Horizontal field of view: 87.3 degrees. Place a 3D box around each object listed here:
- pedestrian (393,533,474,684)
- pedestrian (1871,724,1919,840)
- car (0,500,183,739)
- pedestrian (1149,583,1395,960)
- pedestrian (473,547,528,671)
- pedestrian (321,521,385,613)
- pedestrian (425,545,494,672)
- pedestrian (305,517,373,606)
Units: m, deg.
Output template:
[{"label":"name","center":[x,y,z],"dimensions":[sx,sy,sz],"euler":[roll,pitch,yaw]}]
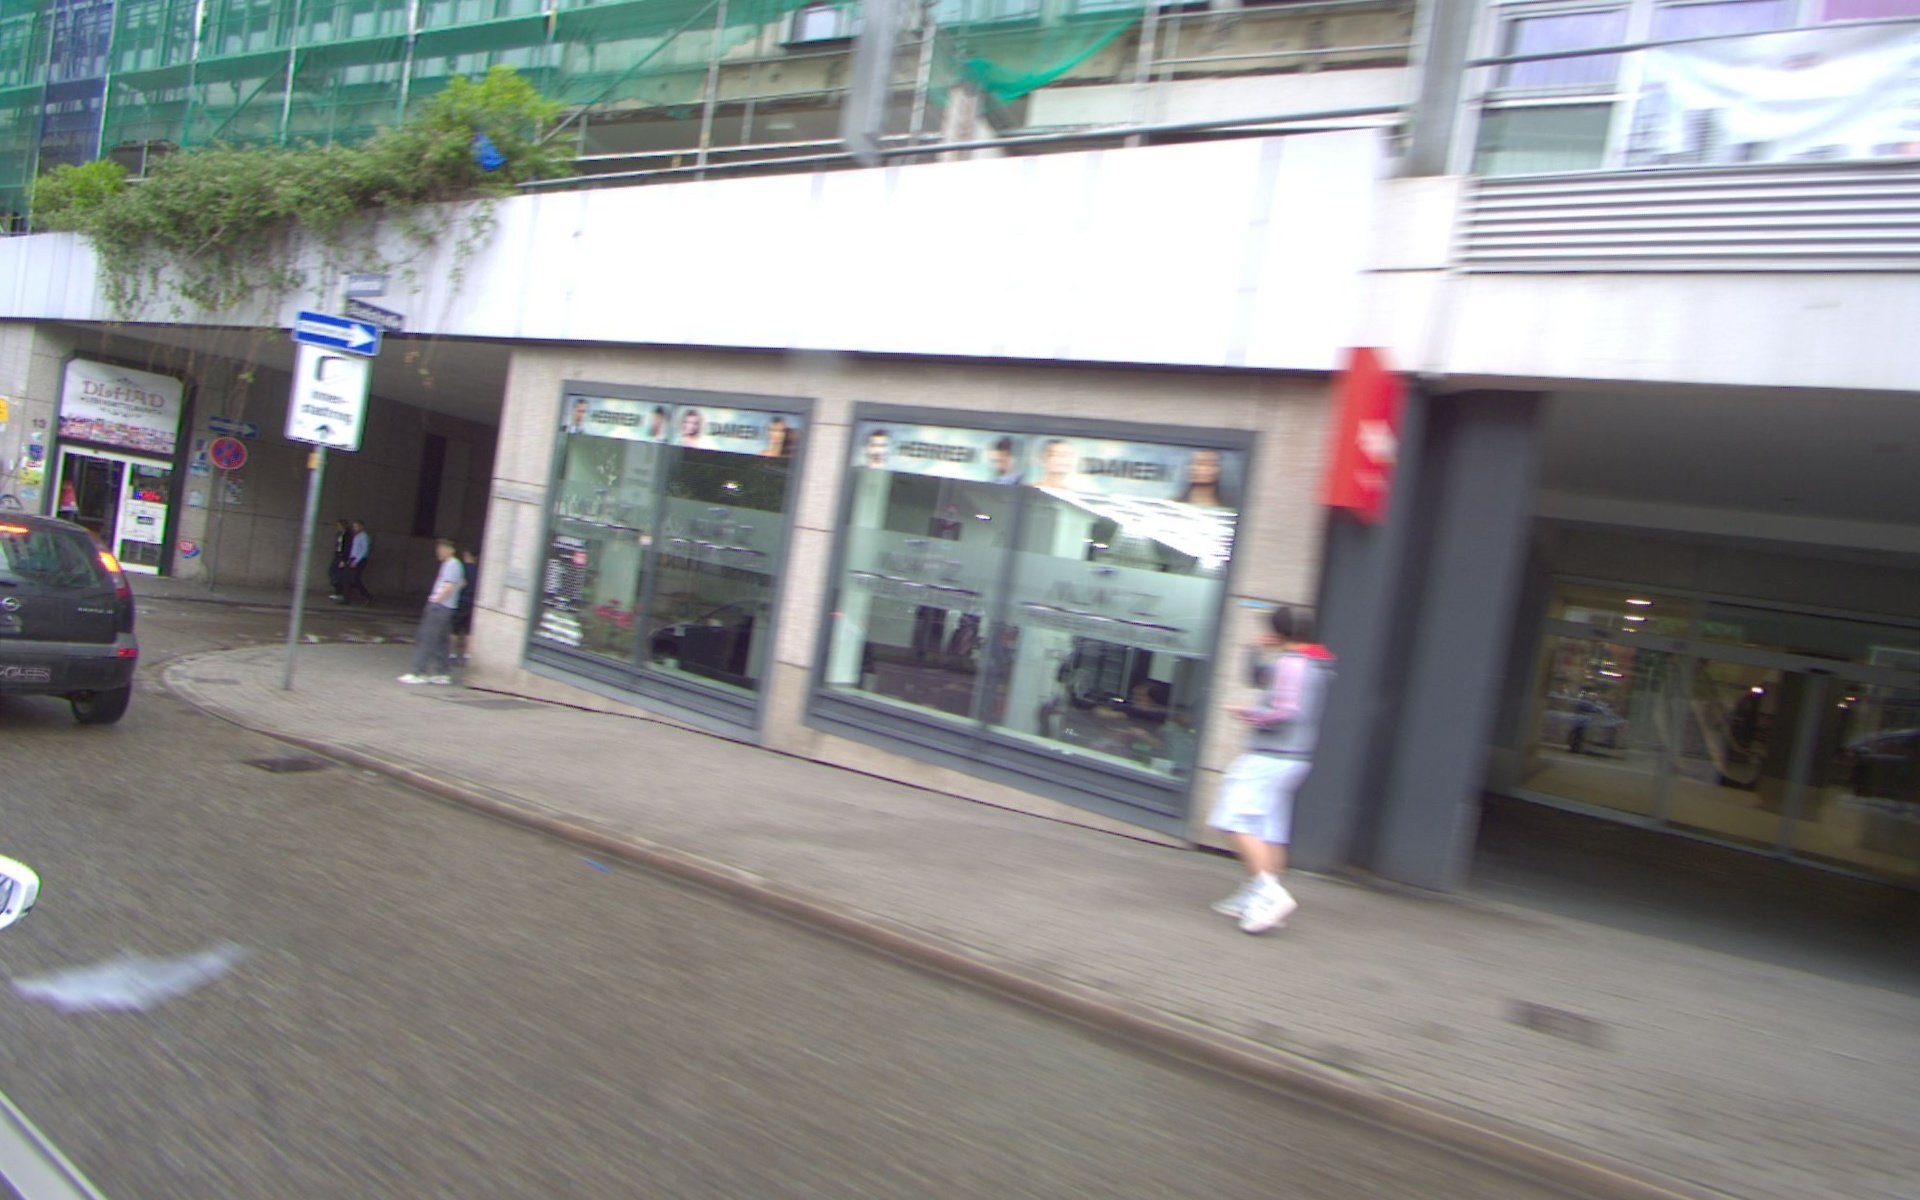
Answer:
[{"label":"pedestrian","center":[-6.125,0.093,11.725],"dimensions":[0.633,1.671,0.560],"euler":[5,2,-19]},{"label":"pedestrian","center":[17.144,3.270,17.933],"dimensions":[0.943,1.950,0.862],"euler":[9,1,32]},{"label":"car","center":[-7.449,-0.058,7.196],"dimensions":[3.708,1.436,1.720],"euler":[8,-2,33]},{"label":"pedestrian","center":[1.679,0.850,5.394],"dimensions":[0.817,1.745,0.835],"euler":[9,3,38]},{"label":"pedestrian","center":[-6.826,0.126,14.972],"dimensions":[0.508,1.757,0.635],"euler":[7,2,-21]},{"label":"pedestrian","center":[-13.071,-0.700,21.662],"dimensions":[0.824,1.802,0.616],"euler":[14,5,27]},{"label":"pedestrian","center":[-7.046,0.117,14.164],"dimensions":[0.596,1.683,0.568],"euler":[7,2,-39]},{"label":"pedestrian","center":[-13.697,-0.843,22.202],"dimensions":[0.756,1.743,0.719],"euler":[16,4,27]}]
